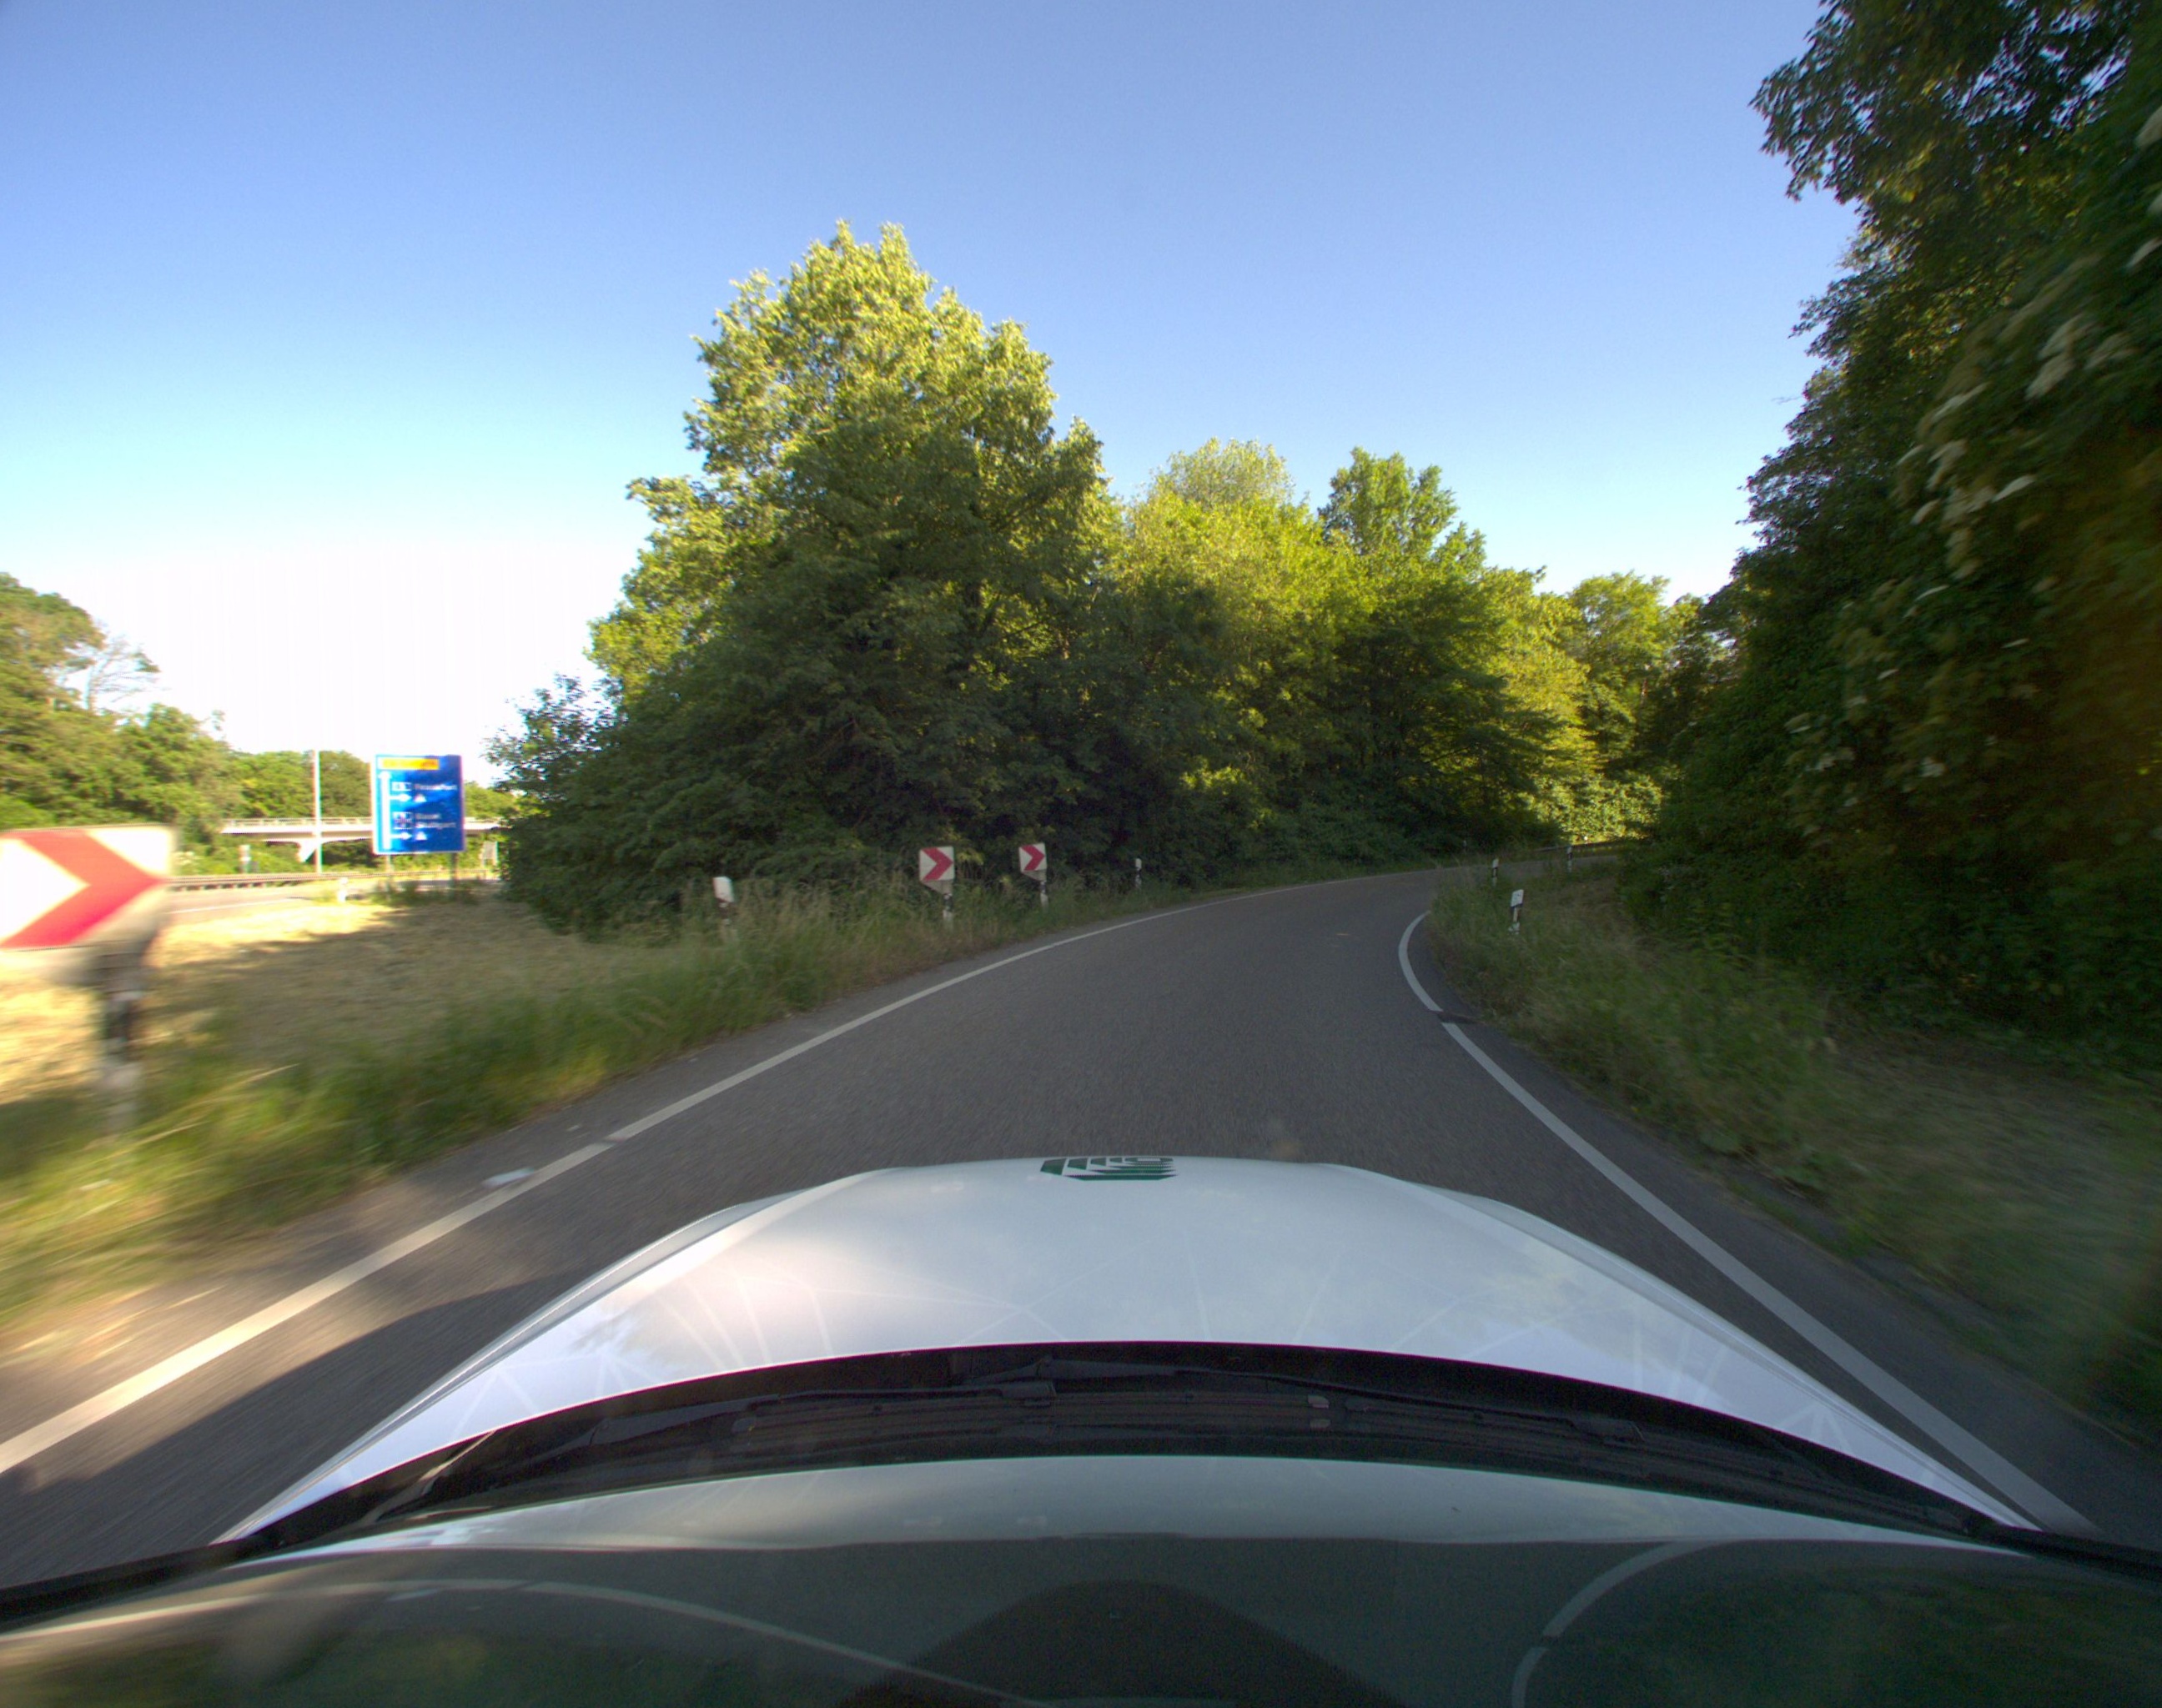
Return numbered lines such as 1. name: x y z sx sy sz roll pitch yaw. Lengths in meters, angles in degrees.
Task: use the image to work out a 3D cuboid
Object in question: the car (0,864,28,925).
1. car: -26.764 0.970 18.334 1.943 1.508 5.541 1 -1 -33
